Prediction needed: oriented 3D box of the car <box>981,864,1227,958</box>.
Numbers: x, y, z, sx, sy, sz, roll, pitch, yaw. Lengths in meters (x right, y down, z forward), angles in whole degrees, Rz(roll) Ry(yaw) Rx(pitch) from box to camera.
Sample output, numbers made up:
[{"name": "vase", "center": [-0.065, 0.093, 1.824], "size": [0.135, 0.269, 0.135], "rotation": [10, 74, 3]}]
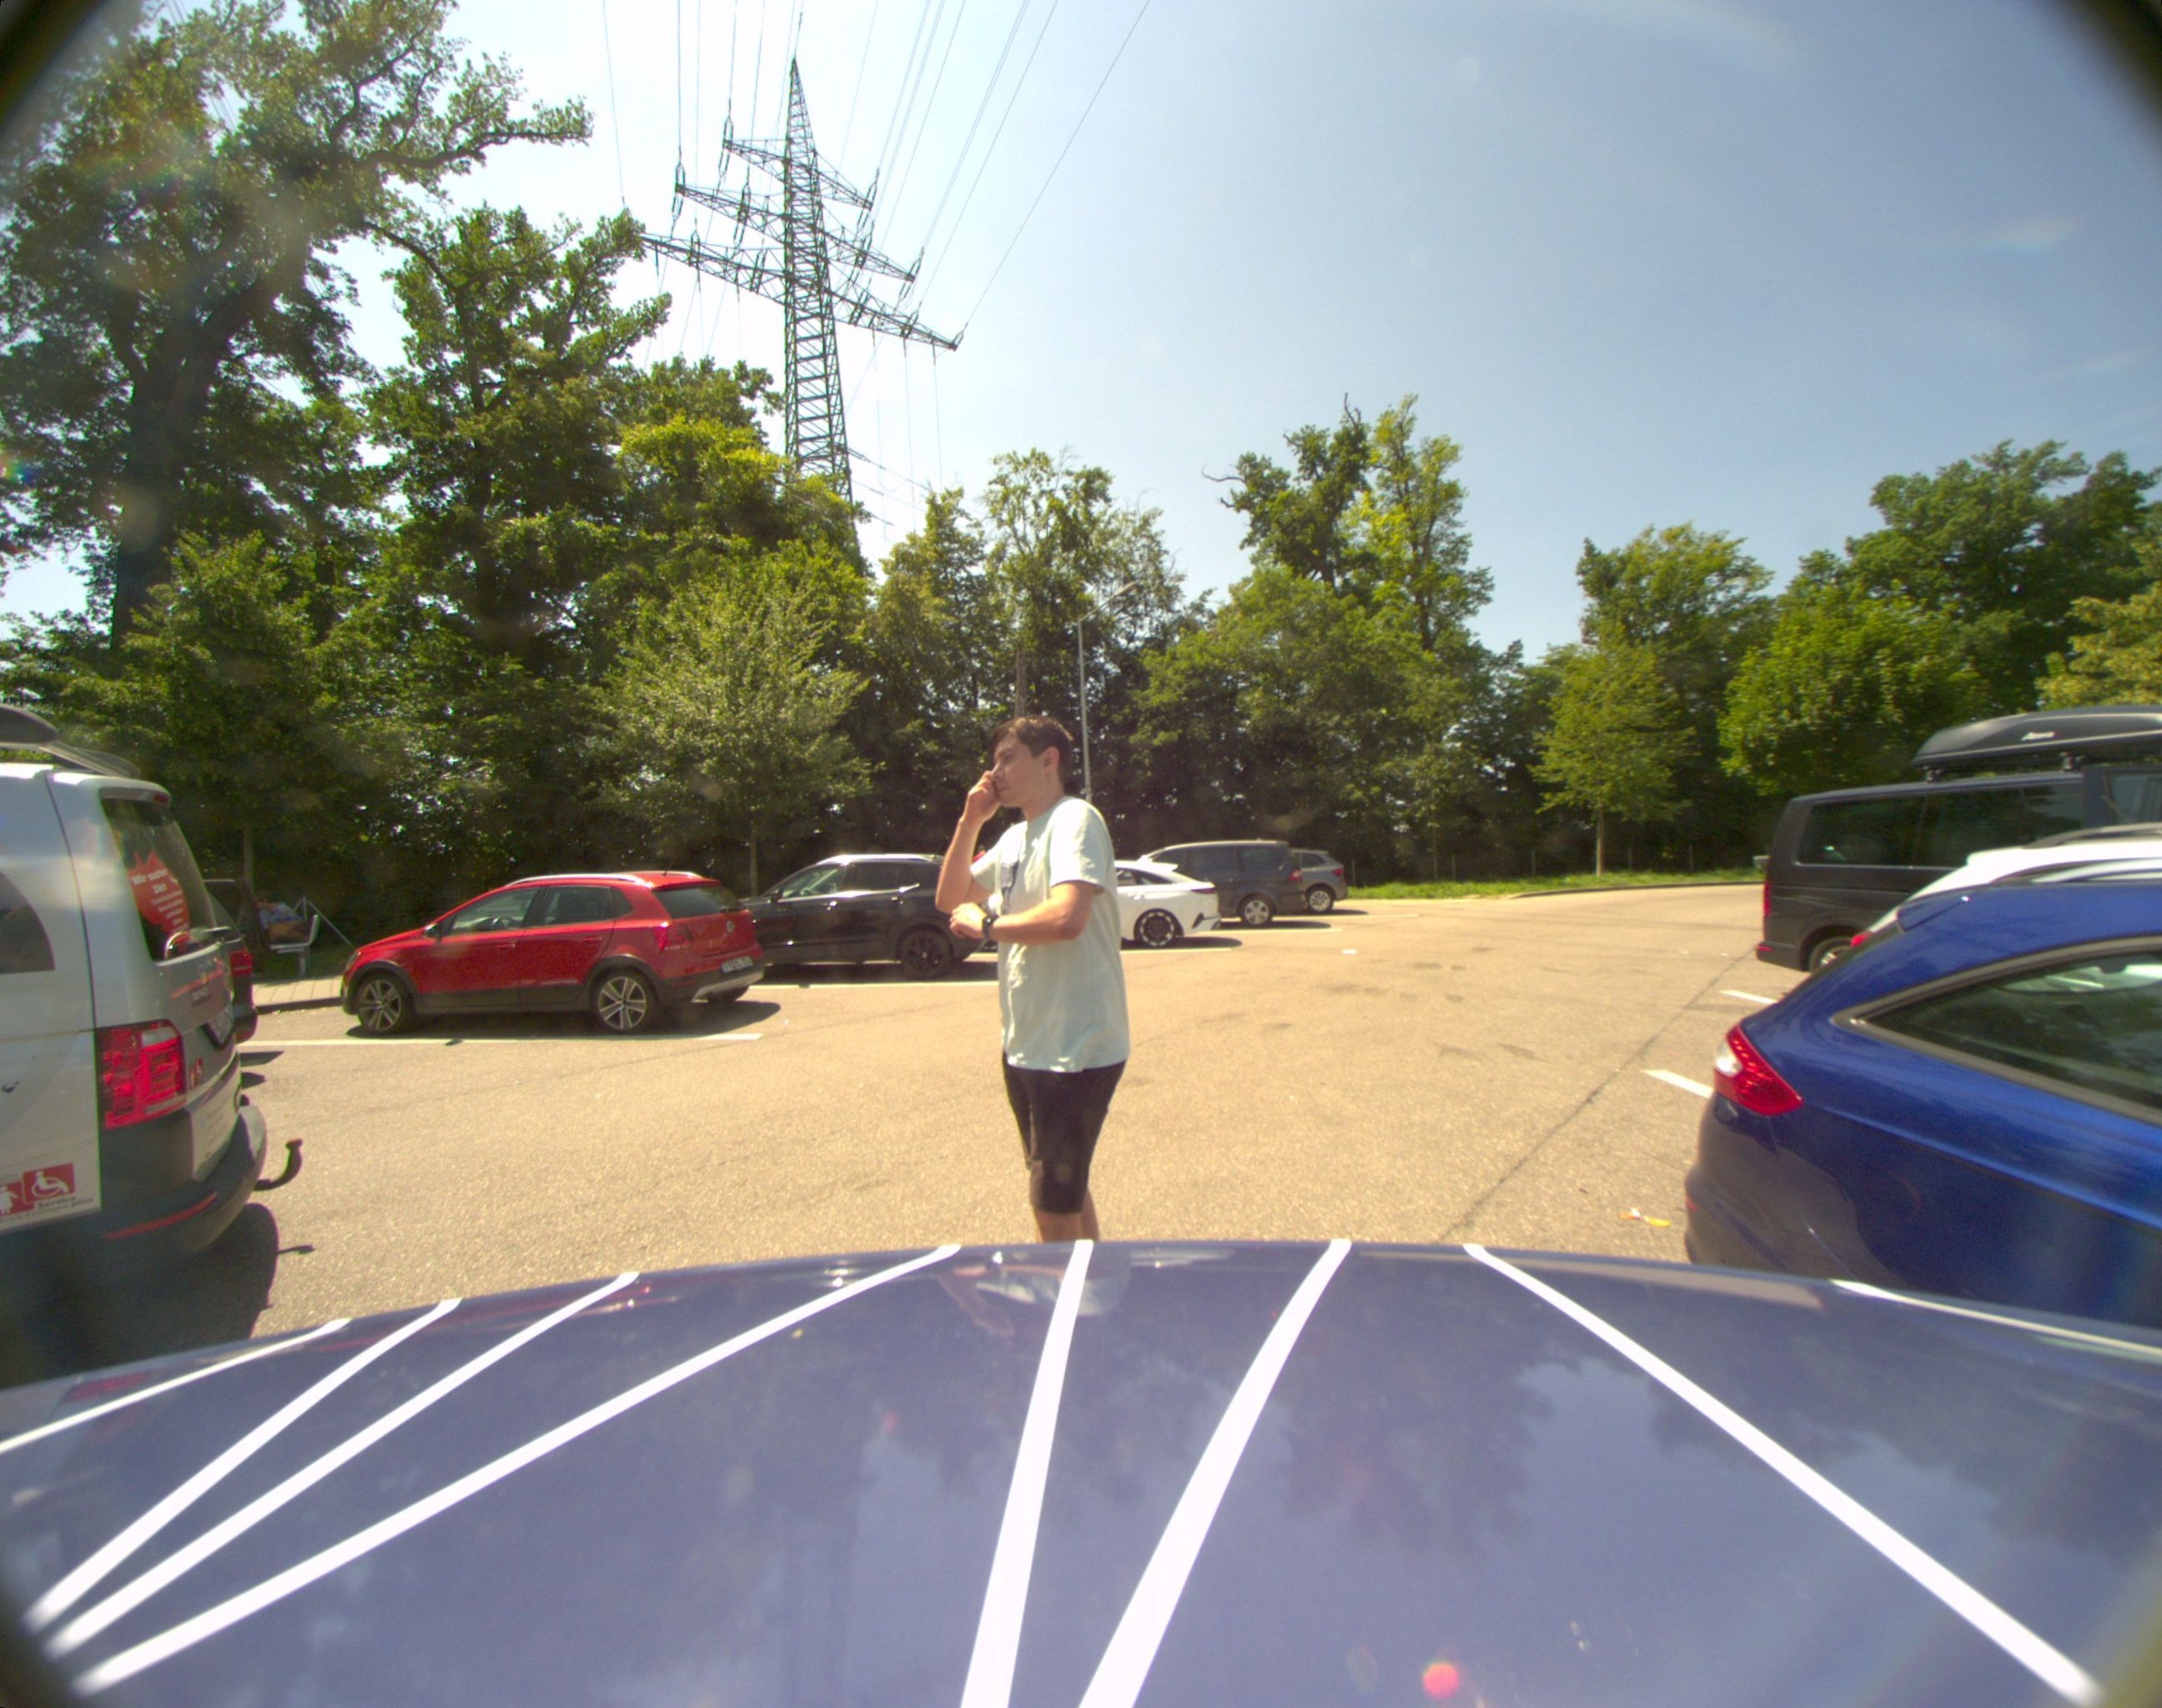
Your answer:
[{"name": "car", "center": [0.413, 0.907, 12.731], "size": [3.805, 1.359, 1.803], "rotation": [-1, 1, 5]}]

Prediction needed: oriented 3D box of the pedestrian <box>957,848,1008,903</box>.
[{"name": "pedestrian", "center": [-2.409, 0.527, 18.678], "size": [0.890, 1.292, 0.865], "rotation": [-2, 0, 23]}]

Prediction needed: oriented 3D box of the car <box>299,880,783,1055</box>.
[{"name": "car", "center": [-5.238, 1.062, 7.638], "size": [3.804, 1.449, 1.637], "rotation": [-1, 1, 7]}]

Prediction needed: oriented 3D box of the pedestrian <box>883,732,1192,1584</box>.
[{"name": "pedestrian", "center": [-0.174, 0.659, 2.104], "size": [0.634, 1.857, 0.747], "rotation": [-2, 0, -17]}]

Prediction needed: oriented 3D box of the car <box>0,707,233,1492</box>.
[{"name": "car", "center": [-5.354, 0.738, 1.114], "size": [5.323, 2.137, 1.995], "rotation": [-1, -1, -45]}]

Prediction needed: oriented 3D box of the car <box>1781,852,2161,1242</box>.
[{"name": "car", "center": [4.784, 0.701, 2.417], "size": [1.607, 1.405, 3.743], "rotation": [-2, -1, -1]}]

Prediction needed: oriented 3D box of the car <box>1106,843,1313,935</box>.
[{"name": "car", "center": [2.515, 0.681, 15.481], "size": [3.882, 1.680, 1.882], "rotation": [-1, 0, 5]}]

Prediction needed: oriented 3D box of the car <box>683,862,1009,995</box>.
[{"name": "car", "center": [-3.002, 0.937, 10.282], "size": [3.806, 1.538, 1.759], "rotation": [-1, 1, 2]}]

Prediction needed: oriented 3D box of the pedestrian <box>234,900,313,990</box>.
[{"name": "pedestrian", "center": [-11.769, 1.306, 11.078], "size": [0.680, 1.211, 0.675], "rotation": [-4, -2, 36]}]

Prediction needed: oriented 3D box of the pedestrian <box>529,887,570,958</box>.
[{"name": "pedestrian", "center": [-10.163, 1.296, 14.525], "size": [0.490, 1.291, 0.506], "rotation": [-2, 0, 41]}]

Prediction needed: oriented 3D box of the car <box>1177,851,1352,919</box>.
[{"name": "car", "center": [4.263, 0.708, 18.105], "size": [3.805, 1.468, 1.743], "rotation": [-1, 1, 5]}]

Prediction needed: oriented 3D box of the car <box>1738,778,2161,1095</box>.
[{"name": "car", "center": [7.312, 0.456, 5.014], "size": [2.048, 1.850, 4.430], "rotation": [-2, -1, -1]}]

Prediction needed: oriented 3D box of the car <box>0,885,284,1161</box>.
[{"name": "car", "center": [-8.339, 1.092, 5.431], "size": [3.950, 1.581, 1.753], "rotation": [-1, 1, 11]}]

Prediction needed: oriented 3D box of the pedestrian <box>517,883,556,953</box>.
[{"name": "pedestrian", "center": [-11.045, 1.291, 15.408], "size": [0.490, 1.367, 0.506], "rotation": [-2, 0, 41]}]
